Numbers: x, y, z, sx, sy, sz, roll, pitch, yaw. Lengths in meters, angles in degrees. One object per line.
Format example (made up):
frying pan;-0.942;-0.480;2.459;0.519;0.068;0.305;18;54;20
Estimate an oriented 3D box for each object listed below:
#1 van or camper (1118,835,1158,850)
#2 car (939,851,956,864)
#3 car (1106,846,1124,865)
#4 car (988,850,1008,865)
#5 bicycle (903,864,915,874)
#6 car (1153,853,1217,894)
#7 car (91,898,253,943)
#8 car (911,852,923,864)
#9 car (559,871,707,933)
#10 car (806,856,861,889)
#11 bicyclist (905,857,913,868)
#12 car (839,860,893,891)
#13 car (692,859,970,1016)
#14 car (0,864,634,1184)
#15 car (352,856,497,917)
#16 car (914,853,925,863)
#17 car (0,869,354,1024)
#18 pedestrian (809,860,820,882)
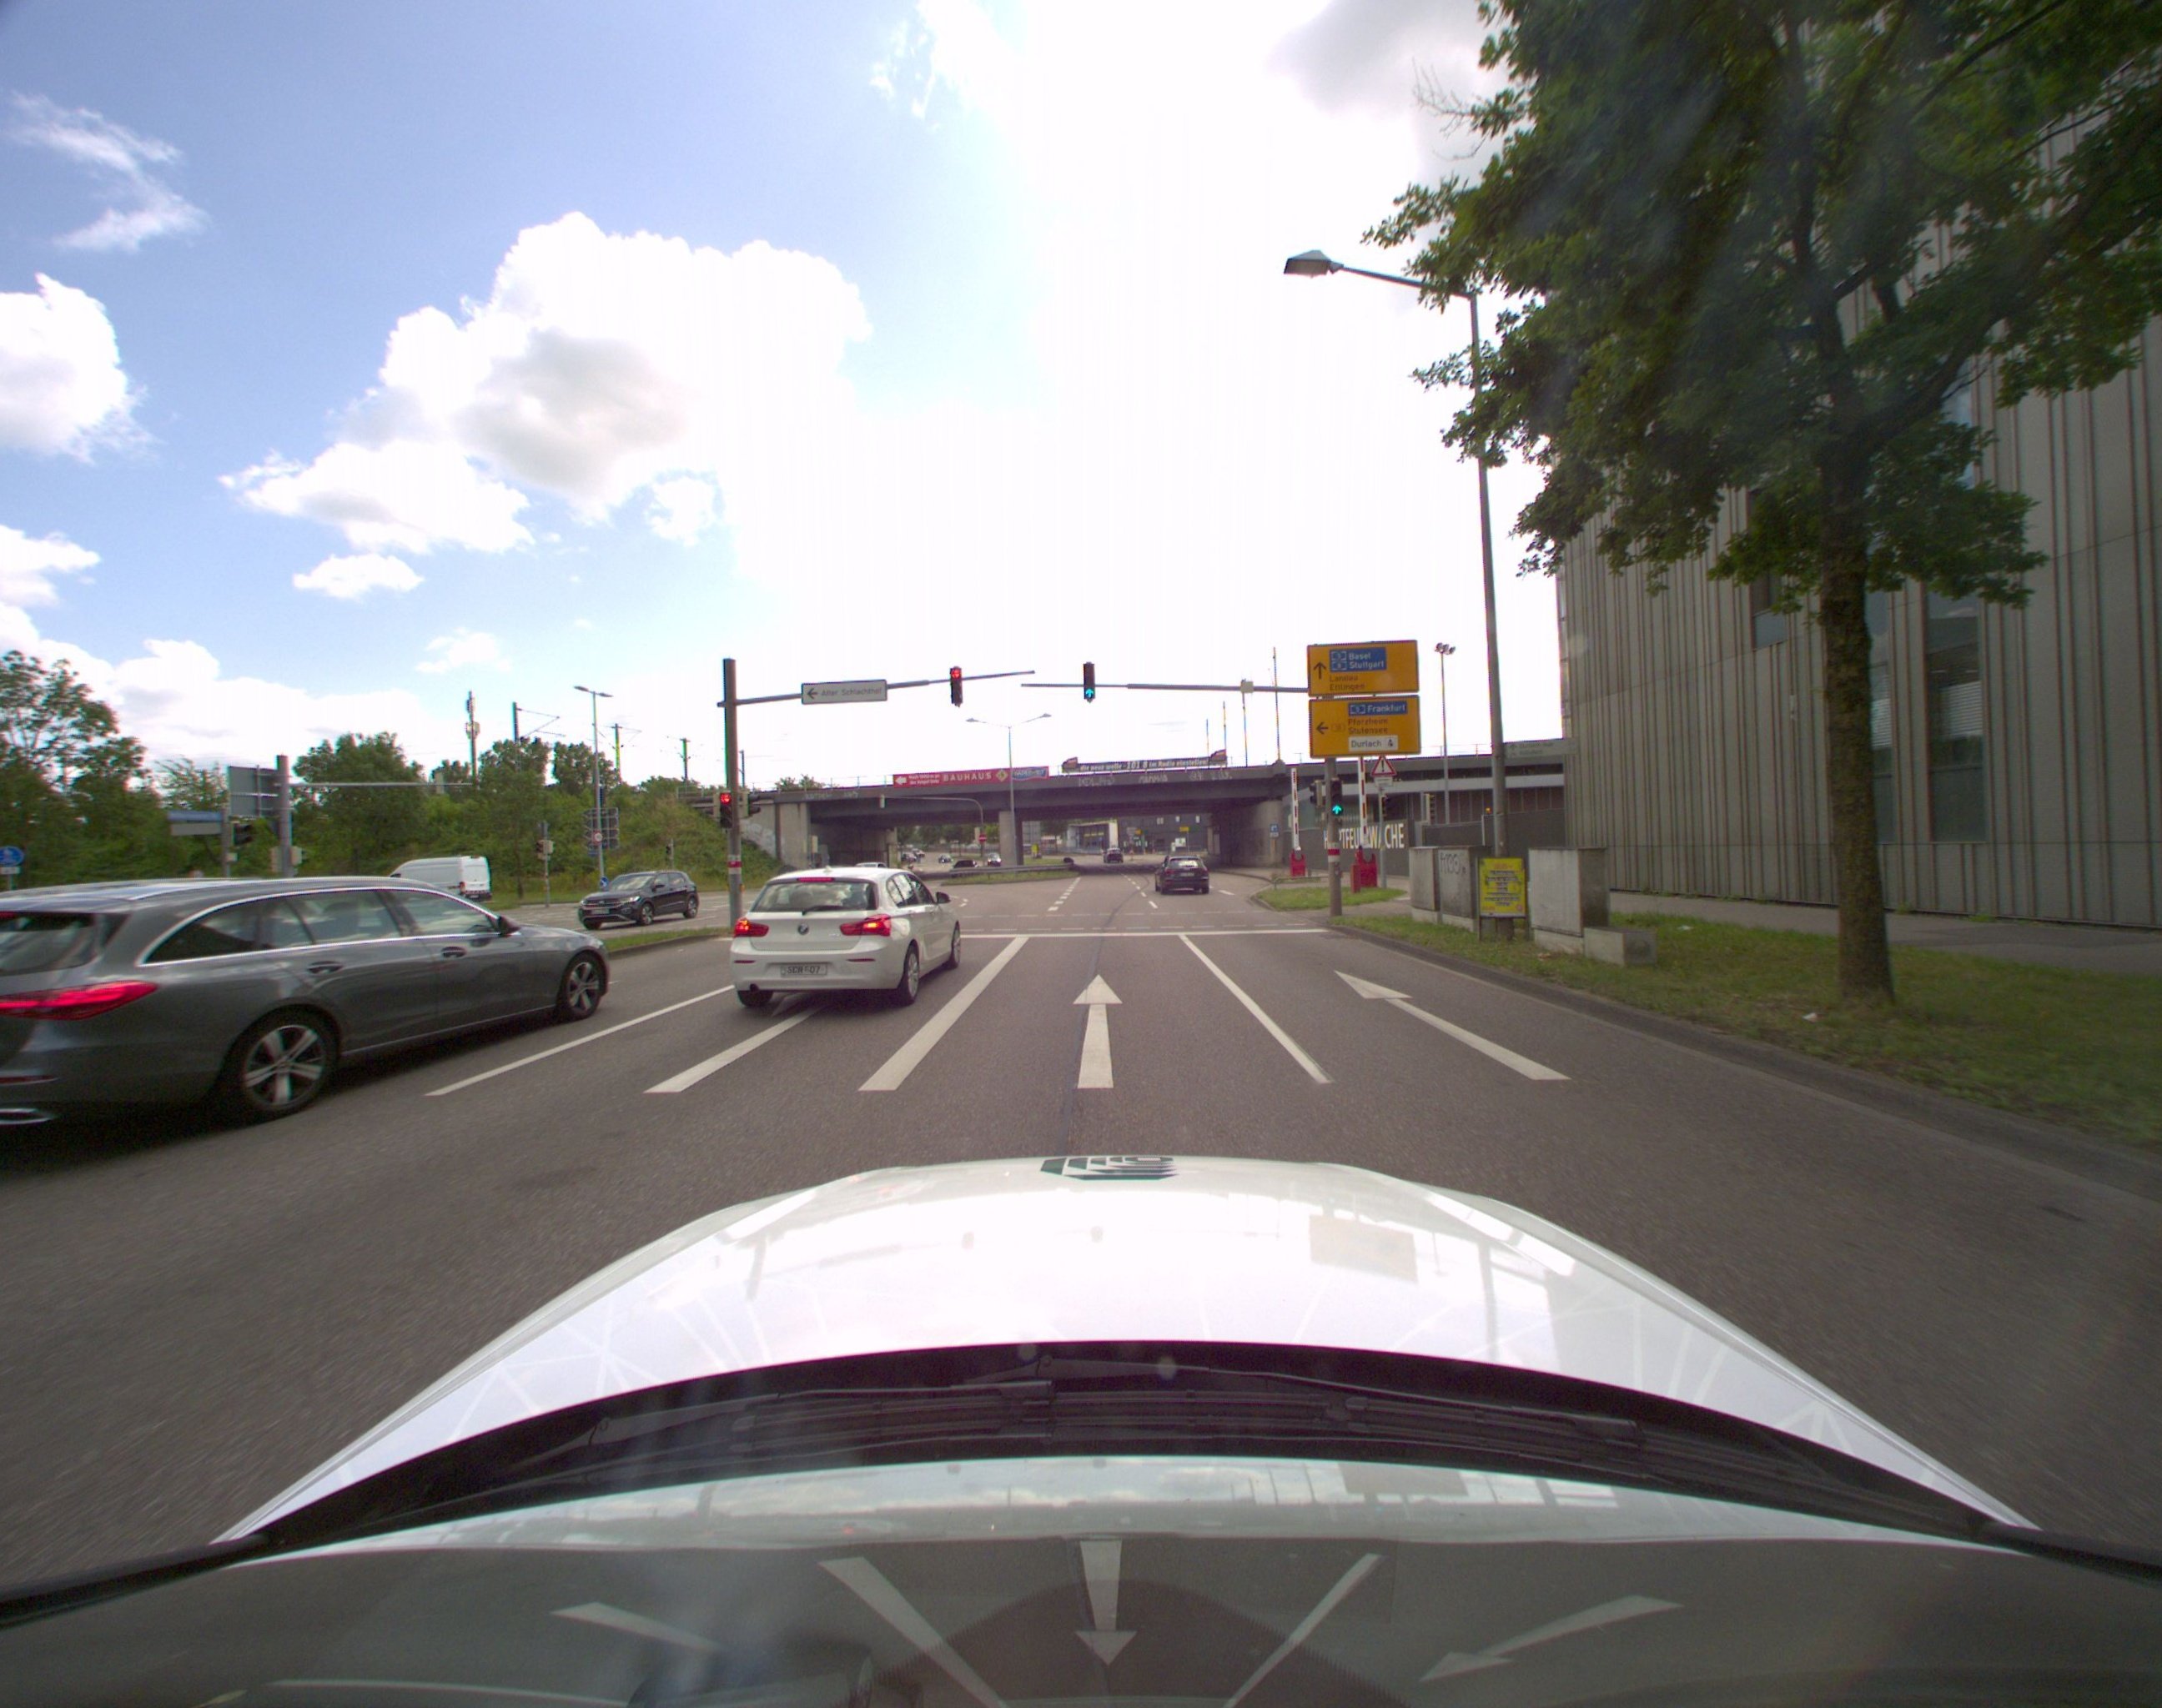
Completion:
van or camper;8.802;-1.792;125.568;6.275;2.172;2.103;-1;0;-36
car;-22.578;0.539;137.694;1.987;2.013;4.336;-2;0;0
car;3.906;0.187;93.543;1.986;2.037;4.715;-3;0;2
car;-10.606;0.465;103.883;1.987;1.759;4.716;-3;0;0
bicycle;-20.607;1.739;97.650;0.676;1.142;2.289;-1;0;9
car;3.946;0.692;31.562;1.986;1.390;4.577;-1;1;1
car;-34.692;2.525;31.135;4.285;1.379;2.004;-3;0;7
car;-29.799;0.717;147.617;1.996;2.013;4.317;-3;0;-13
car;-13.189;1.350;24.294;1.917;1.529;4.005;-2;0;5
car;-16.383;1.196;54.128;1.984;2.013;4.007;-3;0;6
bicyclist;-20.632;1.011;97.591;0.677;1.408;0.927;-1;0;9
car;-12.537;1.209;47.713;1.799;1.632;4.394;-3;0;1
car;-2.645;0.796;9.806;1.908;1.415;4.297;0;0;1
car;-5.784;0.847;6.244;1.987;1.415;4.832;-1;0;0
car;-34.009;1.623;42.313;5.383;2.821;2.386;-3;0;-2
car;-32.671;0.845;164.853;1.994;2.013;4.321;-3;0;-10
car;-13.508;1.181;11.829;1.987;1.766;4.220;-3;0;1
pedestrian;-20.285;1.278;61.913;0.589;1.681;0.556;-2;0;-1
